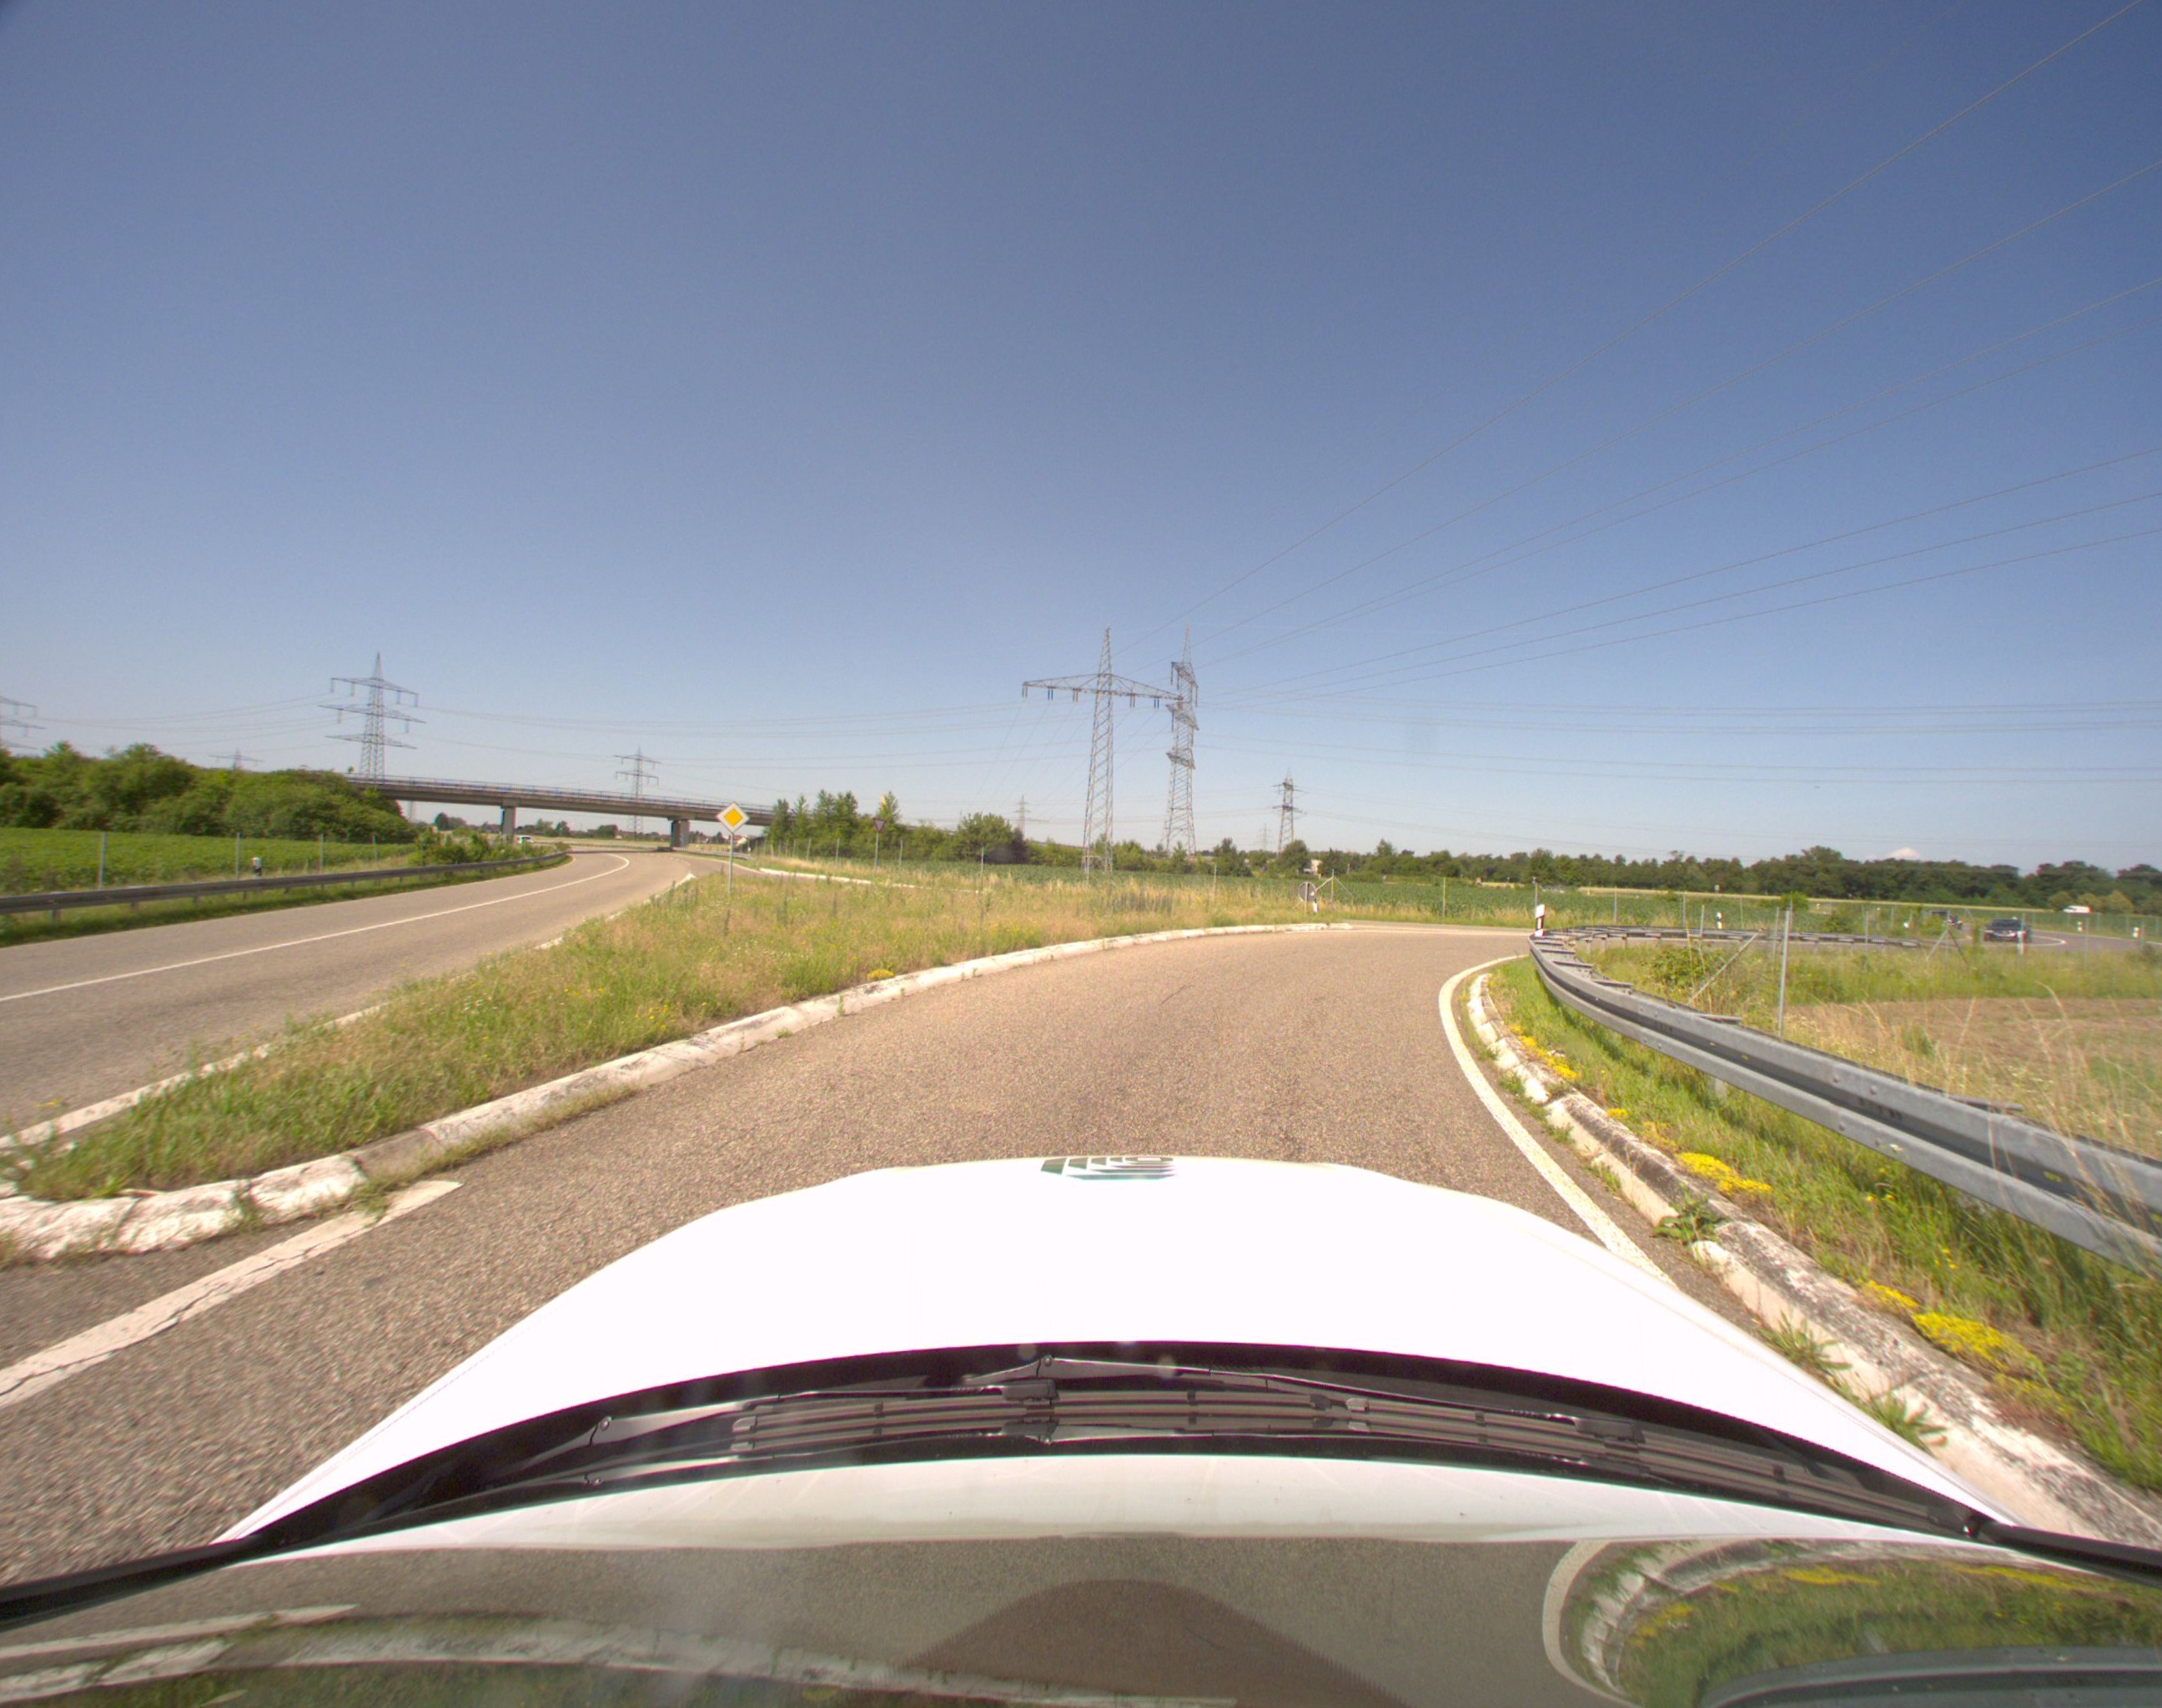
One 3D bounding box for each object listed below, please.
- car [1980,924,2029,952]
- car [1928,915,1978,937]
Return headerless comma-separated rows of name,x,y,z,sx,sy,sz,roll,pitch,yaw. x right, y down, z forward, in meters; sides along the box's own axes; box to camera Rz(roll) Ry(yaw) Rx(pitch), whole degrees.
car,57.299,5.179,50.500,4.613,1.456,1.761,3,-1,-38
car,81.055,6.656,75.771,1.965,1.706,4.287,3,0,31
